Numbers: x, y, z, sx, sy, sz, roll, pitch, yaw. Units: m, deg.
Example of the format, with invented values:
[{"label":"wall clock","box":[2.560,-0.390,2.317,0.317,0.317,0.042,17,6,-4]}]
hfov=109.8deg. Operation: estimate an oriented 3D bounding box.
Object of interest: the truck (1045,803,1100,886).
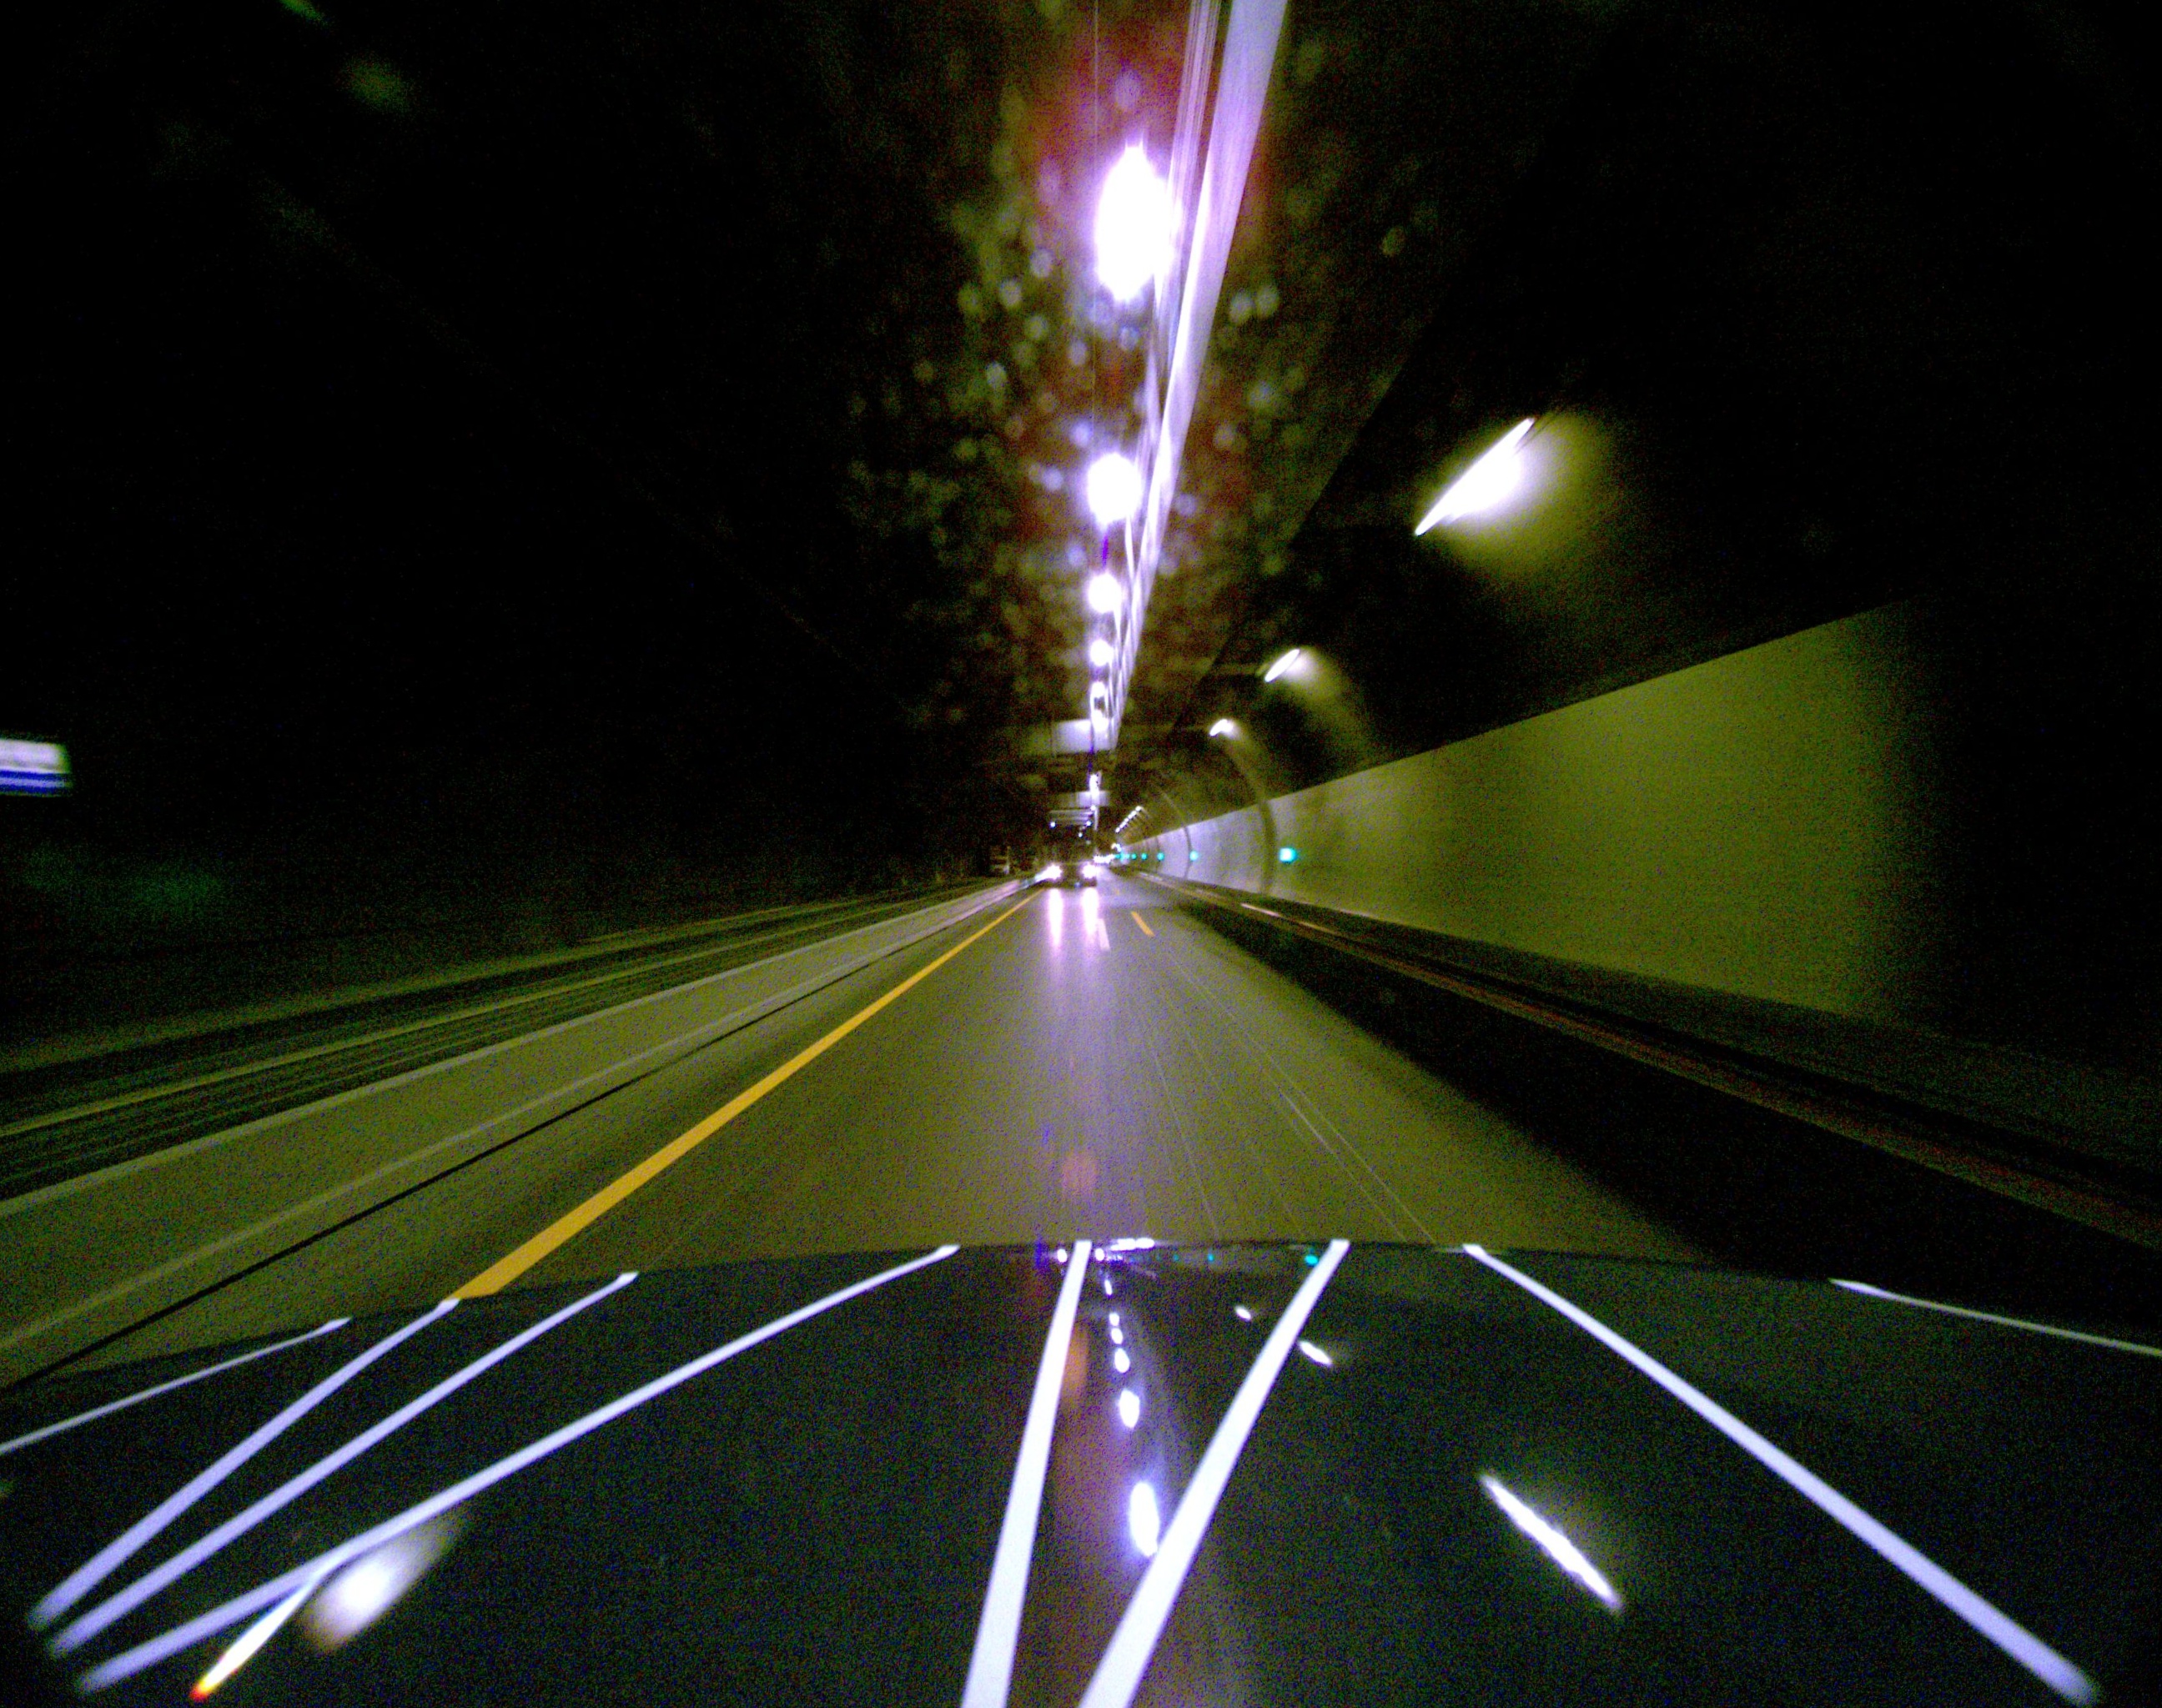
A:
[{"label":"truck","box":[-0.346,-0.512,43.051,2.769,4.198,7.977,-1,1,1]}]

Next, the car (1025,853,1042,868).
[{"label":"car","box":[-6.244,0.809,99.397,1.832,1.848,5.441,-3,0,0]}]

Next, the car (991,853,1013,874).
[{"label":"car","box":[-7.155,0.813,69.363,1.756,1.834,4.644,-1,0,-3]}]
